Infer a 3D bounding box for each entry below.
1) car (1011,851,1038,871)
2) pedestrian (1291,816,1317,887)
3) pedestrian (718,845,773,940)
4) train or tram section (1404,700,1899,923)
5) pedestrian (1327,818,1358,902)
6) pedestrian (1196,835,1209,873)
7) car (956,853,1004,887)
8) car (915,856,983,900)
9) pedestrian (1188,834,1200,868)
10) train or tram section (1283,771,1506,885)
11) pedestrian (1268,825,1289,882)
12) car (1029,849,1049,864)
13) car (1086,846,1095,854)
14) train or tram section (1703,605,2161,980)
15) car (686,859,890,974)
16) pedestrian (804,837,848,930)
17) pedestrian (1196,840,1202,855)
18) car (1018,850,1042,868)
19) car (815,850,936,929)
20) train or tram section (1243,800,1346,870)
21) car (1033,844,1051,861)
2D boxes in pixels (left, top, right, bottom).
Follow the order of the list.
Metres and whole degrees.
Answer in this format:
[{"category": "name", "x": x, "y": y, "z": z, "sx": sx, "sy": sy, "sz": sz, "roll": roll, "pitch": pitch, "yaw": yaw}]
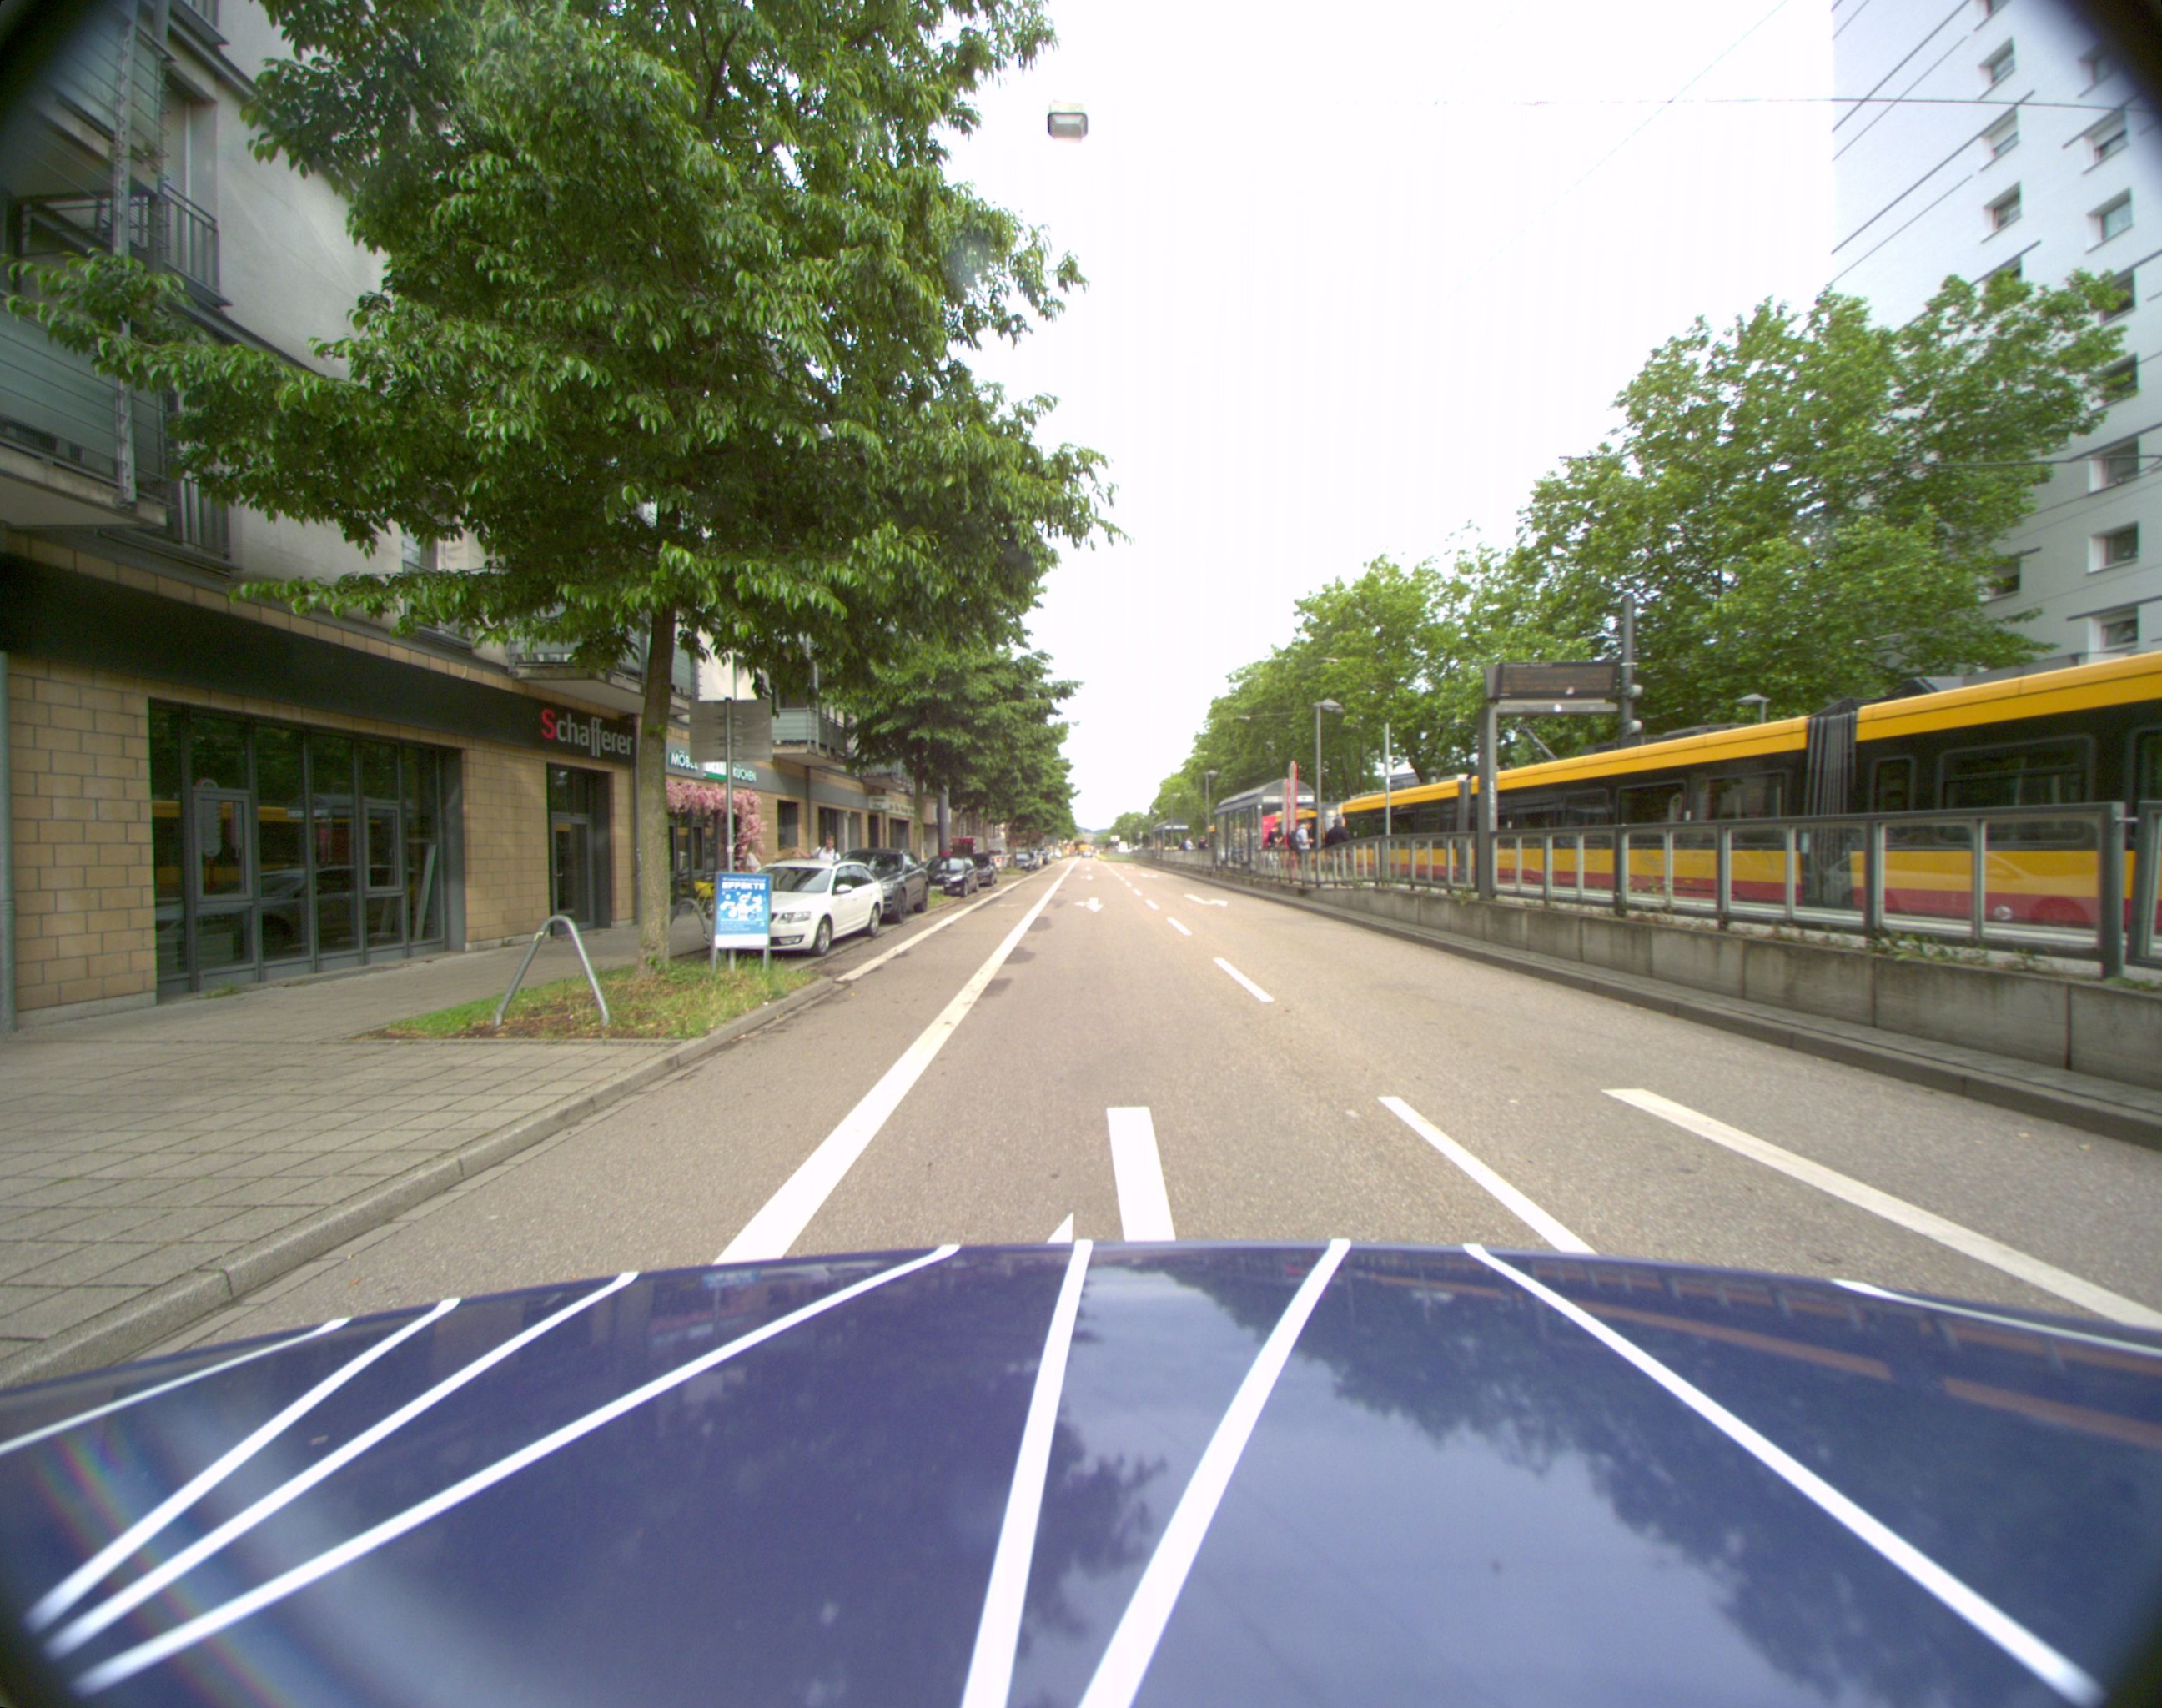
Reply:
[{"category": "car", "x": -4.174, "y": 0.483, "z": 56.288, "sx": 1.612, "sy": 1.393, "sz": 3.667, "roll": 2, "pitch": 1, "yaw": 1}, {"category": "pedestrian", "x": 5.745, "y": -0.063, "z": 19.550, "sx": 0.475, "sy": 1.794, "sz": 0.605, "roll": -2, "pitch": 1, "yaw": 5}, {"category": "pedestrian", "x": -6.215, "y": 0.685, "z": 14.071, "sx": 0.616, "sy": 1.707, "sz": 0.740, "roll": 1, "pitch": 2, "yaw": 41}, {"category": "train or tram section", "x": 12.594, "y": -0.805, "z": 19.481, "sx": 3.338, "sy": 3.731, "sz": 12.547, "roll": -2, "pitch": 1, "yaw": 1}, {"category": "pedestrian", "x": 5.697, "y": 0.121, "z": 16.582, "sx": 0.521, "sy": 1.794, "sz": 0.605, "roll": -2, "pitch": 1, "yaw": 13}, {"category": "pedestrian", "x": 5.838, "y": 0.002, "z": 36.526, "sx": 0.530, "sy": 1.794, "sz": 0.606, "roll": -2, "pitch": 1, "yaw": 14}, {"category": "car", "x": -4.566, "y": 0.689, "z": 34.739, "sx": 1.612, "sy": 1.393, "sz": 3.667, "roll": 2, "pitch": 1, "yaw": 1}, {"category": "car", "x": -4.646, "y": 0.798, "z": 27.278, "sx": 1.612, "sy": 1.370, "sz": 4.167, "roll": 2, "pitch": 1, "yaw": 1}, {"category": "pedestrian", "x": 6.130, "y": -0.176, "z": 41.343, "sx": 0.530, "sy": 1.794, "sz": 0.606, "roll": -2, "pitch": 1, "yaw": 14}, {"category": "train or tram section", "x": 12.777, "y": -0.973, "z": 33.861, "sx": 3.338, "sy": 3.731, "sz": 16.247, "roll": -2, "pitch": 1, "yaw": 1}, {"category": "pedestrian", "x": 6.303, "y": -0.026, "z": 24.202, "sx": 0.474, "sy": 1.794, "sz": 0.606, "roll": -2, "pitch": 1, "yaw": 26}, {"category": "car", "x": -3.980, "y": 0.214, "z": 72.453, "sx": 1.612, "sy": 1.393, "sz": 3.667, "roll": 2, "pitch": 1, "yaw": 1}, {"category": "car", "x": 1.764, "y": -0.698, "z": 143.858, "sx": 1.716, "sy": 1.379, "sz": 4.099, "roll": -2, "pitch": 1, "yaw": 1}, {"category": "train or tram section", "x": 12.404, "y": -0.642, "z": 5.582, "sx": 3.338, "sy": 3.731, "sz": 15.201, "roll": -2, "pitch": 1, "yaw": 1}, {"category": "car", "x": -4.728, "y": 0.905, "z": 13.003, "sx": 1.738, "sy": 1.512, "sz": 4.308, "roll": 2, "pitch": 1, "yaw": 1}, {"category": "pedestrian", "x": -5.264, "y": 0.604, "z": 15.696, "sx": 0.656, "sy": 1.873, "sz": 0.599, "roll": -1, "pitch": 1, "yaw": 1}, {"category": "pedestrian", "x": 16.038, "y": -0.870, "z": 103.187, "sx": 0.719, "sy": 2.002, "sz": 0.756, "roll": -1, "pitch": 1, "yaw": 1}, {"category": "car", "x": -4.135, "y": 0.369, "z": 62.167, "sx": 1.612, "sy": 1.393, "sz": 3.667, "roll": 2, "pitch": 1, "yaw": 1}, {"category": "car", "x": -4.725, "y": 0.746, "z": 18.006, "sx": 1.738, "sy": 1.601, "sz": 3.798, "roll": 2, "pitch": 1, "yaw": 1}, {"category": "train or tram section", "x": 12.962, "y": -1.133, "z": 47.497, "sx": 3.338, "sy": 3.731, "sz": 11.042, "roll": -2, "pitch": 1, "yaw": 1}, {"category": "car", "x": -3.974, "y": -0.136, "z": 78.223, "sx": 1.612, "sy": 1.674, "sz": 3.806, "roll": 2, "pitch": 1, "yaw": 1}]
